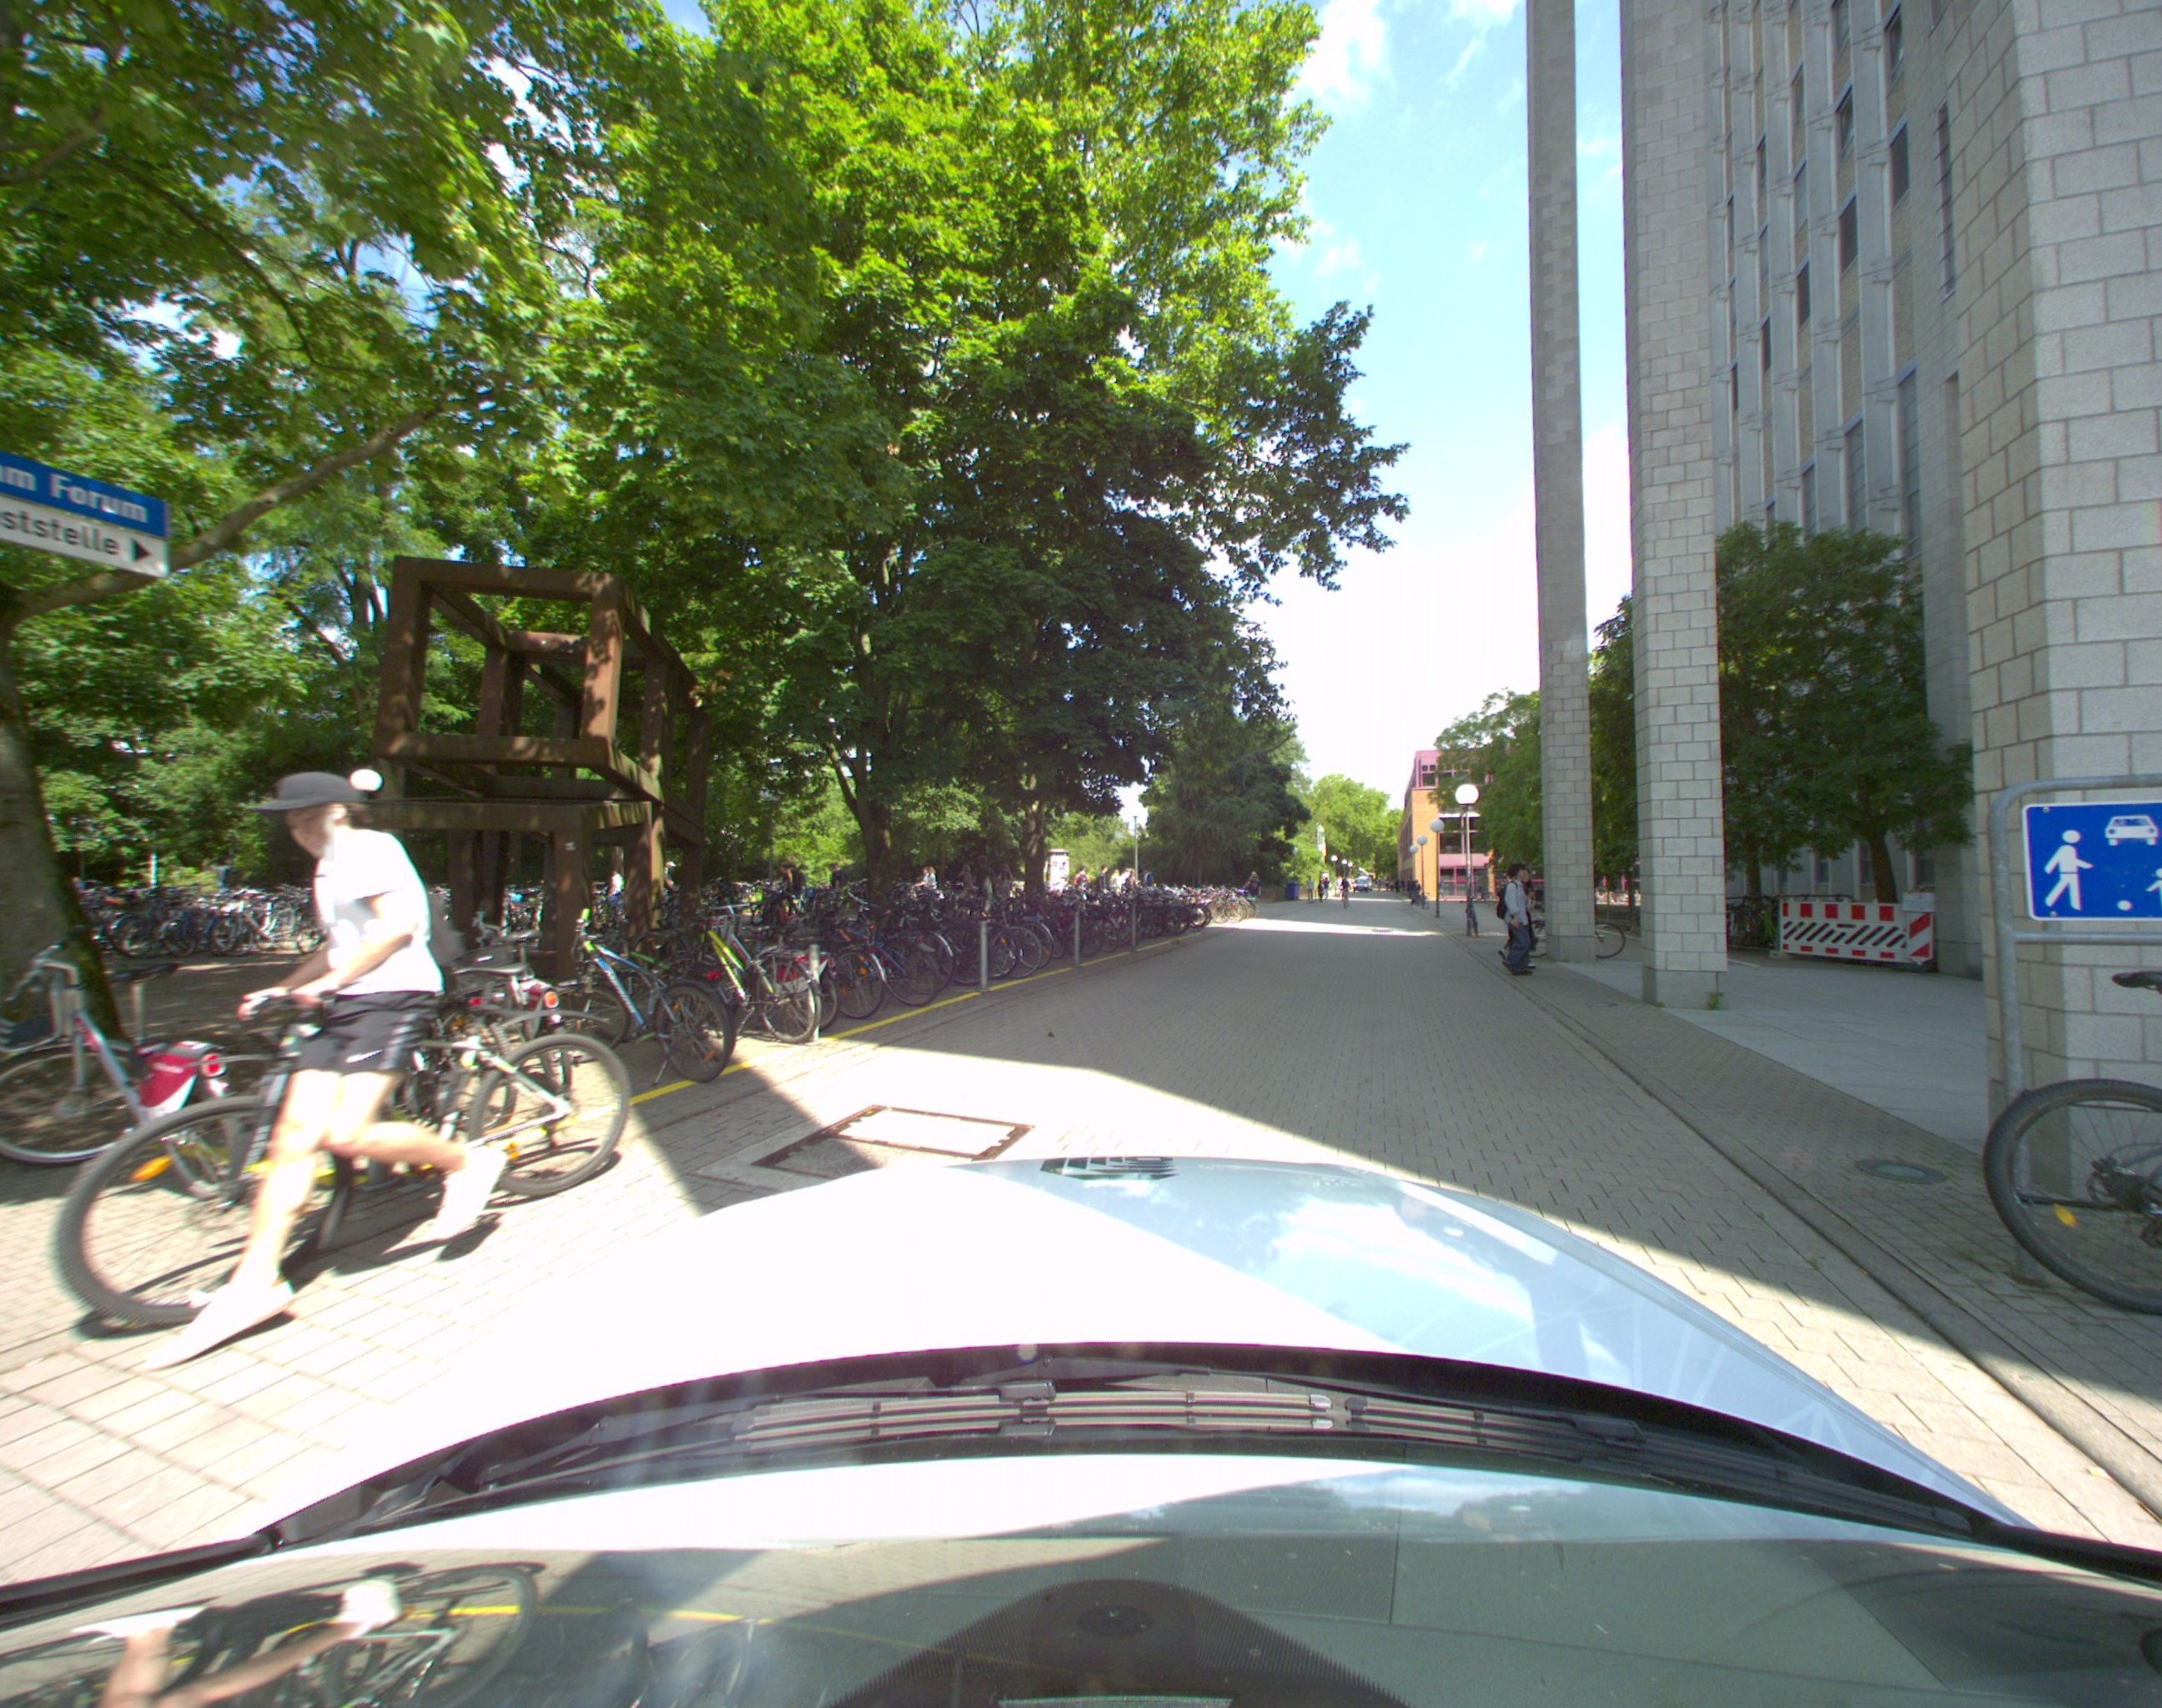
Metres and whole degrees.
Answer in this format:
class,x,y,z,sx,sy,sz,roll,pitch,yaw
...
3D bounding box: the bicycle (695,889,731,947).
class,x,y,z,sx,sy,sz,roll,pitch,yaw
bicycle,-7.634,1.298,16.862,0.504,1.108,1.683,1,-2,-30

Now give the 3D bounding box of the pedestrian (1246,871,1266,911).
class,x,y,z,sx,sy,sz,roll,pitch,yaw
pedestrian,7.582,1.607,35.281,0.762,1.680,0.911,-1,-1,15

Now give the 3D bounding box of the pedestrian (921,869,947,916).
class,x,y,z,sx,sy,sz,roll,pitch,yaw
pedestrian,-5.456,1.417,30.175,0.905,1.680,0.766,1,-2,-14

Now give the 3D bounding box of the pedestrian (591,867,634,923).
class,x,y,z,sx,sy,sz,roll,pitch,yaw
pedestrian,-14.925,1.290,25.969,0.902,1.775,0.769,0,-2,-2

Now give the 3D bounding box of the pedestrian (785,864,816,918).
class,x,y,z,sx,sy,sz,roll,pitch,yaw
pedestrian,-9.451,1.246,27.465,0.905,1.775,0.766,1,-2,-14

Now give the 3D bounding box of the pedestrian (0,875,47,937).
class,x,y,z,sx,sy,sz,roll,pitch,yaw
pedestrian,-31.097,1.493,23.717,0.900,1.775,0.770,0,-2,2

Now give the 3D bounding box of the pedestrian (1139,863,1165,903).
class,x,y,z,sx,sy,sz,roll,pitch,yaw
pedestrian,3.320,1.354,37.899,0.887,1.815,0.825,2,-2,-41

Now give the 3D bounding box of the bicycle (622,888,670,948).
class,x,y,z,sx,sy,sz,roll,pitch,yaw
bicycle,-8.774,1.258,16.488,0.502,1.108,1.769,1,-2,-17

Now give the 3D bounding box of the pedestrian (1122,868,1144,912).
class,x,y,z,sx,sy,sz,roll,pitch,yaw
pedestrian,2.072,1.417,32.497,0.678,1.724,0.735,0,-2,18

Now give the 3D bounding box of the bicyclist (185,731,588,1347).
class,x,y,z,sx,sy,sz,roll,pitch,yaw
bicyclist,-2.577,0.570,3.085,0.795,1.892,0.873,0,-2,29

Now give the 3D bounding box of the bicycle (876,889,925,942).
class,x,y,z,sx,sy,sz,roll,pitch,yaw
bicycle,-4.093,1.354,18.390,0.505,1.108,1.681,2,-2,-34

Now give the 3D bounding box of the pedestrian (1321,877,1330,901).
class,x,y,z,sx,sy,sz,roll,pitch,yaw
pedestrian,17.070,2.447,56.889,0.564,1.611,0.922,0,-2,17

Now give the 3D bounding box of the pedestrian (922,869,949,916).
class,x,y,z,sx,sy,sz,roll,pitch,yaw
pedestrian,-5.260,1.371,29.365,0.905,1.680,0.766,1,-2,-14

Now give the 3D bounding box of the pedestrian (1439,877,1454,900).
class,x,y,z,sx,sy,sz,roll,pitch,yaw
pedestrian,27.998,2.637,62.326,0.893,1.729,0.689,-3,-5,36

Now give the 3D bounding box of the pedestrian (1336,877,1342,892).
class,x,y,z,sx,sy,sz,roll,pitch,yaw
pedestrian,32.034,3.742,101.086,0.677,1.844,0.787,0,-3,20

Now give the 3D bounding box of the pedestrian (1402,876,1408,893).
class,x,y,z,sx,sy,sz,roll,pitch,yaw
pedestrian,33.563,3.157,84.356,0.581,1.673,0.702,-2,-3,22

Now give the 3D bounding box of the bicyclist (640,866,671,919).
class,x,y,z,sx,sy,sz,roll,pitch,yaw
bicyclist,-12.686,1.137,24.298,0.722,1.568,0.591,1,-2,-21

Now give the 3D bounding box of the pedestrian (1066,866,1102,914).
class,x,y,z,sx,sy,sz,roll,pitch,yaw
pedestrian,0.115,1.299,29.950,1.069,1.724,0.711,0,-2,-37

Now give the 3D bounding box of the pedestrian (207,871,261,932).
class,x,y,z,sx,sy,sz,roll,pitch,yaw
pedestrian,-25.149,1.399,24.187,0.896,1.775,0.774,0,-2,20

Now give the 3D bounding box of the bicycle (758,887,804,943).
class,x,y,z,sx,sy,sz,roll,pitch,yaw
bicycle,-6.443,1.282,17.439,0.633,1.108,1.683,1,-2,-30

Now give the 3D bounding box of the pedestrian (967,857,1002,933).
class,x,y,z,sx,sy,sz,roll,pitch,yaw
pedestrian,-2.338,0.978,19.673,0.768,1.807,0.706,1,-2,-13

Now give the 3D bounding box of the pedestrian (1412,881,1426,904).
class,x,y,z,sx,sy,sz,roll,pitch,yaw
pedestrian,24.692,2.808,59.504,0.844,1.651,0.591,-1,-3,28

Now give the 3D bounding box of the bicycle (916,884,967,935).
class,x,y,z,sx,sy,sz,roll,pitch,yaw
bicycle,-3.243,1.254,18.827,0.505,1.108,1.681,2,-2,-34

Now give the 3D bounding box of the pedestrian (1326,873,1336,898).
class,x,y,z,sx,sy,sz,roll,pitch,yaw
pedestrian,19.338,2.437,62.921,0.677,1.844,0.787,0,-3,20

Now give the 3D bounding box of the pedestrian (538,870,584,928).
class,x,y,z,sx,sy,sz,roll,pitch,yaw
pedestrian,-16.171,1.382,25.338,0.902,1.775,0.769,0,-2,-3

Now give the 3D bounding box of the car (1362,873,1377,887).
class,x,y,z,sx,sy,sz,roll,pitch,yaw
car,40.191,3.604,113.257,1.868,1.974,5.240,-1,-2,20

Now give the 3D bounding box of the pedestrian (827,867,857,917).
class,x,y,z,sx,sy,sz,roll,pitch,yaw
pedestrian,-8.049,1.272,27.504,0.905,1.680,0.766,1,-2,-14

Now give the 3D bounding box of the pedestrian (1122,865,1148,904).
class,x,y,z,sx,sy,sz,roll,pitch,yaw
pedestrian,2.559,1.427,38.403,0.988,1.804,0.761,1,-2,-39

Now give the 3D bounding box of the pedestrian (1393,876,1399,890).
class,x,y,z,sx,sy,sz,roll,pitch,yaw
pedestrian,37.459,3.489,96.938,0.581,1.673,0.821,-2,-3,22

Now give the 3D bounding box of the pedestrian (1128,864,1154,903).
class,x,y,z,sx,sy,sz,roll,pitch,yaw
pedestrian,2.656,1.300,36.127,0.908,1.724,0.679,2,-2,-36

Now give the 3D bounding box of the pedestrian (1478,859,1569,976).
class,x,y,z,sx,sy,sz,roll,pitch,yaw
pedestrian,6.646,0.934,12.259,0.677,1.670,0.890,0,-4,-33

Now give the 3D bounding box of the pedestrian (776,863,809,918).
class,x,y,z,sx,sy,sz,roll,pitch,yaw
pedestrian,-9.438,1.189,26.655,0.905,1.775,0.766,1,-2,-14

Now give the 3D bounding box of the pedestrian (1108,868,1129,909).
class,x,y,z,sx,sy,sz,roll,pitch,yaw
pedestrian,1.580,1.442,34.350,0.685,1.724,0.727,-1,-1,-16

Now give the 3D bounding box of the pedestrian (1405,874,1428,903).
class,x,y,z,sx,sy,sz,roll,pitch,yaw
pedestrian,21.745,2.250,52.798,1.031,1.858,0.883,1,-2,-18

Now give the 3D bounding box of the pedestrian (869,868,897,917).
class,x,y,z,sx,sy,sz,roll,pitch,yaw
pedestrian,-6.915,1.323,28.472,0.905,1.680,0.766,1,-2,-14

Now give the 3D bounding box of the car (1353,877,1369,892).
class,x,y,z,sx,sy,sz,roll,pitch,yaw
car,34.965,3.776,101.530,1.775,1.762,4.503,-1,-2,20

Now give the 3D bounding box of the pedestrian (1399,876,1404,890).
class,x,y,z,sx,sy,sz,roll,pitch,yaw
pedestrian,38.764,3.529,98.513,0.581,1.673,0.821,-2,-3,22

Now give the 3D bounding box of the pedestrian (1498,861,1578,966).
class,x,y,z,sx,sy,sz,roll,pitch,yaw
pedestrian,7.324,0.934,13.073,0.808,1.617,0.735,0,-2,-23

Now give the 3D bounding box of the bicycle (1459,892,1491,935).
class,x,y,z,sx,sy,sz,roll,pitch,yaw
bicycle,10.384,1.553,21.519,0.532,1.039,1.867,-2,-2,20

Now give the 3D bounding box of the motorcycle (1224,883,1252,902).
class,x,y,z,sx,sy,sz,roll,pitch,yaw
motorcycle,9.067,2.215,47.122,0.475,1.047,2.008,1,-1,-27

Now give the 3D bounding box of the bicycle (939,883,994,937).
class,x,y,z,sx,sy,sz,roll,pitch,yaw
bicycle,-2.709,1.283,19.147,0.578,1.200,1.681,2,-2,-34

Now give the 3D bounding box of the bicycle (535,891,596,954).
class,x,y,z,sx,sy,sz,roll,pitch,yaw
bicycle,-9.961,1.288,15.790,0.502,1.108,1.895,1,-2,-17

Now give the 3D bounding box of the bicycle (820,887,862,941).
class,x,y,z,sx,sy,sz,roll,pitch,yaw
bicycle,-5.317,1.298,17.958,0.504,1.108,1.683,1,-2,-30

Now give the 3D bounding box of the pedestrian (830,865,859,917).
class,x,y,z,sx,sy,sz,roll,pitch,yaw
pedestrian,-8.231,1.282,28.407,0.905,1.775,0.766,1,-2,-14

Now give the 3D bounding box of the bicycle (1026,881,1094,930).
class,x,y,z,sx,sy,sz,roll,pitch,yaw
bicycle,-0.538,1.319,20.951,1.684,1.220,0.504,0,-2,9

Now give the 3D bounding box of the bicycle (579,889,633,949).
class,x,y,z,sx,sy,sz,roll,pitch,yaw
bicycle,-9.468,1.260,16.285,0.502,1.108,1.769,1,-2,-17

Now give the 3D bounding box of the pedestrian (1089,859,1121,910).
class,x,y,z,sx,sy,sz,roll,pitch,yaw
pedestrian,0.888,1.121,30.290,0.945,1.835,0.679,0,-2,-36

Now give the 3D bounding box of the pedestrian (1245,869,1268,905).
class,x,y,z,sx,sy,sz,roll,pitch,yaw
pedestrian,9.034,1.709,41.898,1.054,1.835,0.608,1,-2,-34

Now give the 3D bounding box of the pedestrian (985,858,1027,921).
class,x,y,z,sx,sy,sz,roll,pitch,yaw
pedestrian,-2.080,0.969,22.592,0.774,1.703,0.896,2,-2,-43

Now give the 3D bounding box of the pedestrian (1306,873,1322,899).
class,x,y,z,sx,sy,sz,roll,pitch,yaw
pedestrian,16.988,2.319,59.449,0.781,1.845,1.116,1,-2,-4

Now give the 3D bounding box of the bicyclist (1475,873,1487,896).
class,x,y,z,sx,sy,sz,roll,pitch,yaw
bicyclist,29.145,2.217,59.292,0.657,1.716,0.592,-2,-2,37

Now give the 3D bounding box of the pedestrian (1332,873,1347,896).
class,x,y,z,sx,sy,sz,roll,pitch,yaw
pedestrian,21.666,2.552,68.205,1.086,1.882,0.719,2,-3,-33

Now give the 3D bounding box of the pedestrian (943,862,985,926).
class,x,y,z,sx,sy,sz,roll,pitch,yaw
pedestrian,-3.210,1.089,22.351,0.910,1.703,0.762,1,-2,-34

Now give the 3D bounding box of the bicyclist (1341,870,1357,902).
class,x,y,z,sx,sy,sz,roll,pitch,yaw
bicyclist,14.649,1.774,44.529,0.765,1.716,0.915,-2,-3,17

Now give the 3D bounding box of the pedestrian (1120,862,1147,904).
class,x,y,z,sx,sy,sz,roll,pitch,yaw
pedestrian,2.213,1.224,34.391,0.936,1.724,0.674,-1,-1,-15
